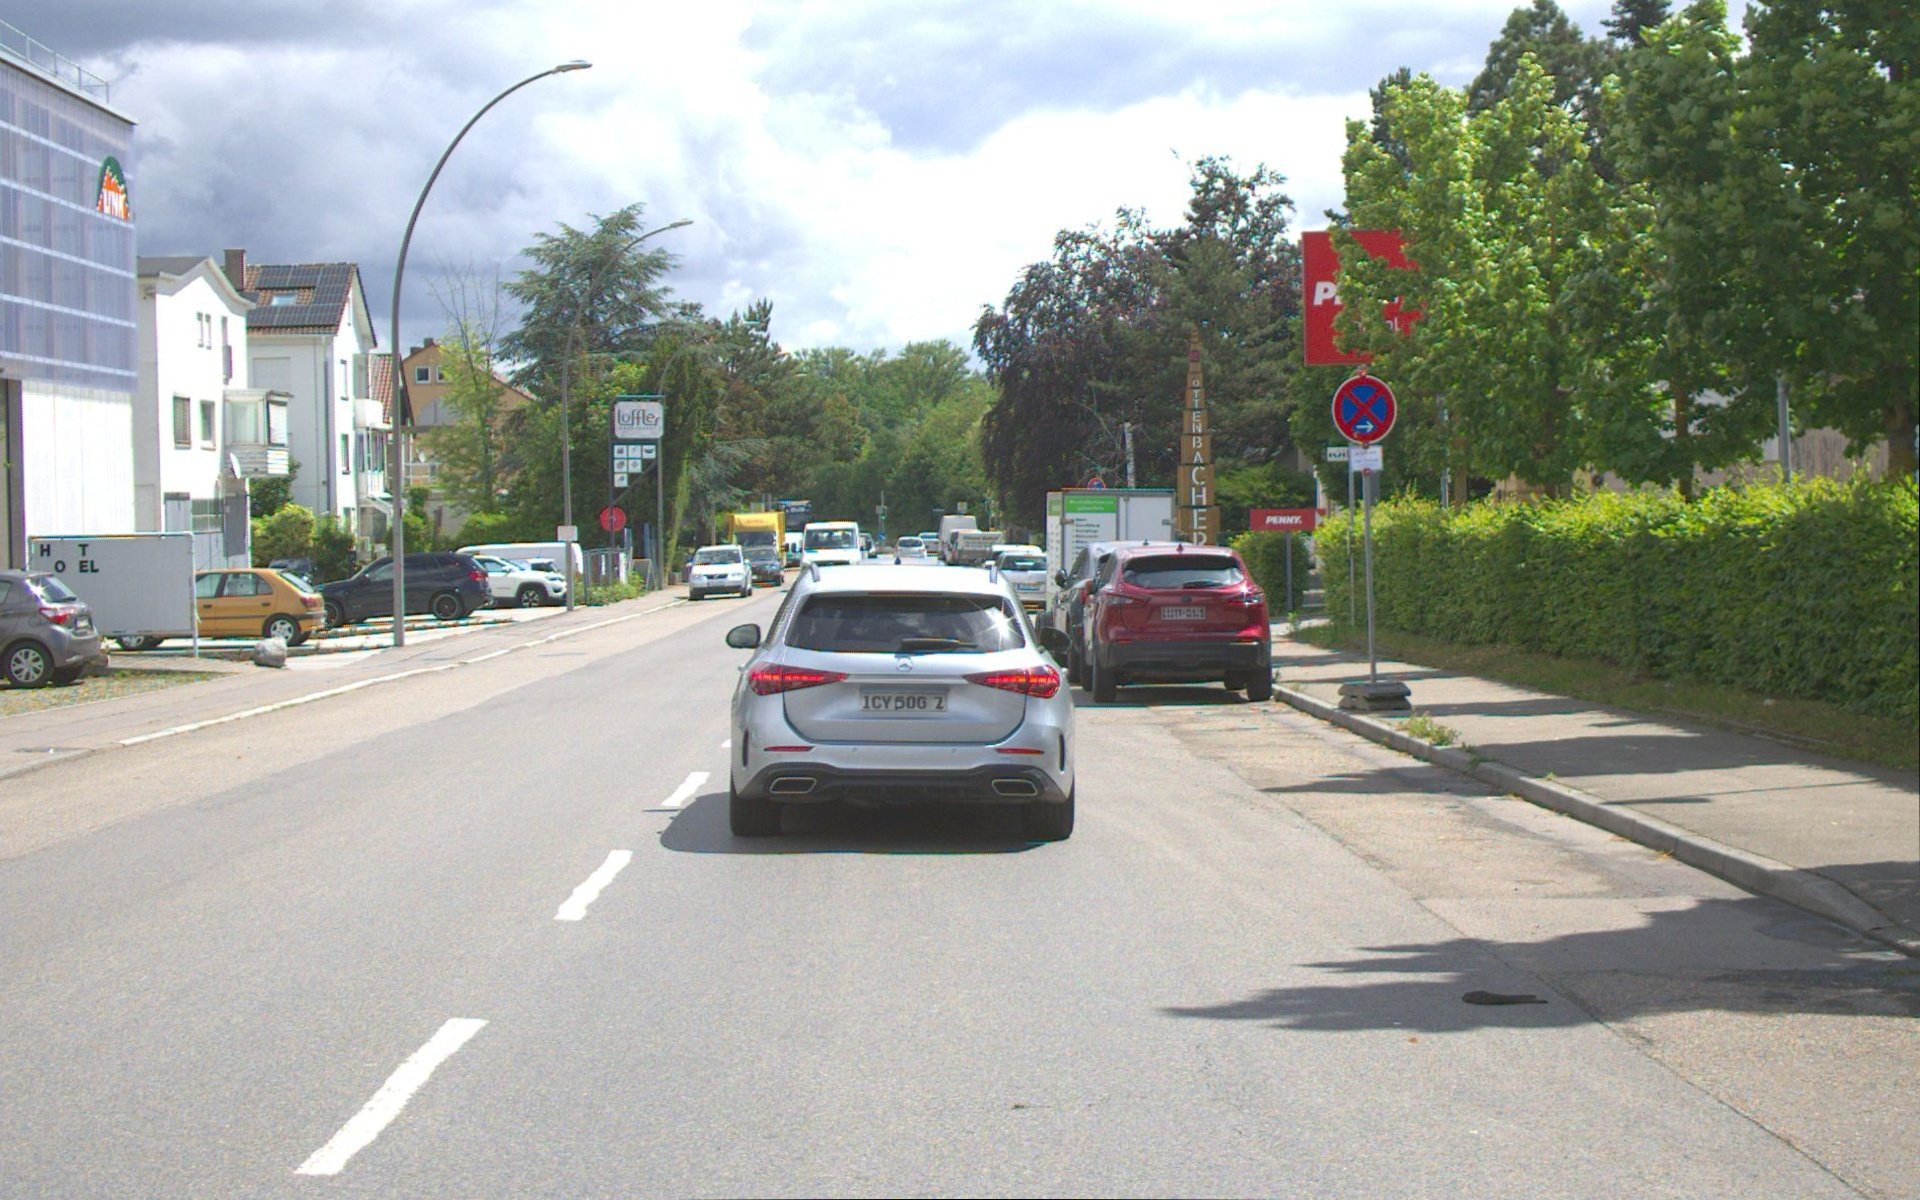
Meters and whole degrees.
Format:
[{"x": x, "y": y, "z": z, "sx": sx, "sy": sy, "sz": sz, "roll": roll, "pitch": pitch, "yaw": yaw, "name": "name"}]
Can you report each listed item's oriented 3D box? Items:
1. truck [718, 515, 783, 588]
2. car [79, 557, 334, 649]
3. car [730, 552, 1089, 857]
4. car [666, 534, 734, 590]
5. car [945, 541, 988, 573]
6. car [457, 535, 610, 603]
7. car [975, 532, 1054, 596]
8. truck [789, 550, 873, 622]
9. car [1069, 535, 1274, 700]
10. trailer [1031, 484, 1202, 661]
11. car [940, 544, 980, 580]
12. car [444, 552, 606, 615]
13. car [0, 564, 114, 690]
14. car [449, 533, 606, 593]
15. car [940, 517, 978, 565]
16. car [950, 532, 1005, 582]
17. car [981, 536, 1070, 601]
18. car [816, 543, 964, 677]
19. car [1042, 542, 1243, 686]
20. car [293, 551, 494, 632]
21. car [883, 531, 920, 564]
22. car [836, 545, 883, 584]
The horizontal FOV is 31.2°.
[{"x": -8.516, "y": -2.024, "z": 140.466, "sx": 2.075, "sy": 2.804, "sz": 7.078, "roll": -2, "pitch": 1, "yaw": 0, "name": "truck"}, {"x": -13.225, "y": 0.045, "z": 60.520, "sx": 4.149, "sy": 1.486, "sz": 1.826, "roll": 1, "pitch": 1, "yaw": -4, "name": "car"}, {"x": -0.349, "y": 0.490, "z": 19.280, "sx": 1.784, "sy": 1.479, "sz": 4.317, "roll": 0, "pitch": 1, "yaw": -3, "name": "car"}, {"x": -8.045, "y": -1.193, "z": 106.609, "sx": 1.791, "sy": 1.598, "sz": 4.364, "roll": -2, "pitch": 1, "yaw": -1, "name": "car"}, {"x": 0.292, "y": -2.027, "z": 161.116, "sx": 1.784, "sy": 1.479, "sz": 4.317, "roll": 0, "pitch": 1, "yaw": -3, "name": "car"}, {"x": -12.563, "y": -0.903, "z": 101.526, "sx": 4.279, "sy": 1.830, "sz": 1.991, "roll": -1, "pitch": -2, "yaw": -2, "name": "car"}, {"x": 1.390, "y": -0.957, "z": 89.012, "sx": 1.791, "sy": 1.546, "sz": 4.574, "roll": -2, "pitch": 1, "yaw": -1, "name": "car"}, {"x": -4.229, "y": -0.501, "z": 113.580, "sx": 2.319, "sy": 2.171, "sz": 6.449, "roll": -2, "pitch": 1, "yaw": 1, "name": "truck"}, {"x": 2.174, "y": 0.129, "z": 36.390, "sx": 1.941, "sy": 1.566, "sz": 4.446, "roll": -2, "pitch": 1, "yaw": 1, "name": "car"}, {"x": 2.111, "y": -0.401, "z": 47.489, "sx": 1.941, "sy": 2.286, "sz": 4.446, "roll": -2, "pitch": 1, "yaw": -2, "name": "trailer"}, {"x": -0.009, "y": -1.855, "z": 167.280, "sx": 1.784, "sy": 1.709, "sz": 4.317, "roll": 0, "pitch": 1, "yaw": -3, "name": "car"}, {"x": -12.162, "y": -0.456, "z": 96.276, "sx": 4.279, "sy": 1.561, "sz": 1.991, "roll": -1, "pitch": -2, "yaw": 0, "name": "car"}, {"x": -12.883, "y": 0.344, "z": 43.854, "sx": 3.628, "sy": 1.527, "sz": 1.979, "roll": -1, "pitch": 1, "yaw": 2, "name": "car"}, {"x": -12.459, "y": -1.058, "z": 99.239, "sx": 4.279, "sy": 1.561, "sz": 1.991, "roll": -1, "pitch": -2, "yaw": -2, "name": "car"}, {"x": -0.072, "y": -3.072, "z": 179.832, "sx": 1.784, "sy": 2.510, "sz": 4.317, "roll": 0, "pitch": 1, "yaw": -3, "name": "car"}, {"x": 0.710, "y": -1.800, "z": 142.227, "sx": 2.144, "sy": 1.977, "sz": 5.261, "roll": -1, "pitch": 1, "yaw": 0, "name": "car"}, {"x": 1.554, "y": -0.777, "z": 83.330, "sx": 1.791, "sy": 1.445, "sz": 4.364, "roll": -2, "pitch": 1, "yaw": -3, "name": "car"}, {"x": -0.890, "y": 0.088, "z": 43.232, "sx": 1.755, "sy": 1.553, "sz": 4.001, "roll": -1, "pitch": 1, "yaw": -2, "name": "car"}, {"x": 2.141, "y": 0.120, "z": 41.562, "sx": 1.941, "sy": 1.566, "sz": 4.446, "roll": -2, "pitch": 1, "yaw": -3, "name": "car"}, {"x": -13.993, "y": -0.226, "z": 85.159, "sx": 4.626, "sy": 1.627, "sz": 2.198, "roll": -4, "pitch": 2, "yaw": -4, "name": "car"}, {"x": -2.904, "y": -2.597, "z": 169.633, "sx": 1.755, "sy": 1.553, "sz": 4.001, "roll": -1, "pitch": 1, "yaw": -2, "name": "car"}, {"x": -4.738, "y": -1.710, "z": 163.024, "sx": 1.993, "sy": 1.727, "sz": 4.548, "roll": -2, "pitch": 1, "yaw": 1, "name": "car"}]
